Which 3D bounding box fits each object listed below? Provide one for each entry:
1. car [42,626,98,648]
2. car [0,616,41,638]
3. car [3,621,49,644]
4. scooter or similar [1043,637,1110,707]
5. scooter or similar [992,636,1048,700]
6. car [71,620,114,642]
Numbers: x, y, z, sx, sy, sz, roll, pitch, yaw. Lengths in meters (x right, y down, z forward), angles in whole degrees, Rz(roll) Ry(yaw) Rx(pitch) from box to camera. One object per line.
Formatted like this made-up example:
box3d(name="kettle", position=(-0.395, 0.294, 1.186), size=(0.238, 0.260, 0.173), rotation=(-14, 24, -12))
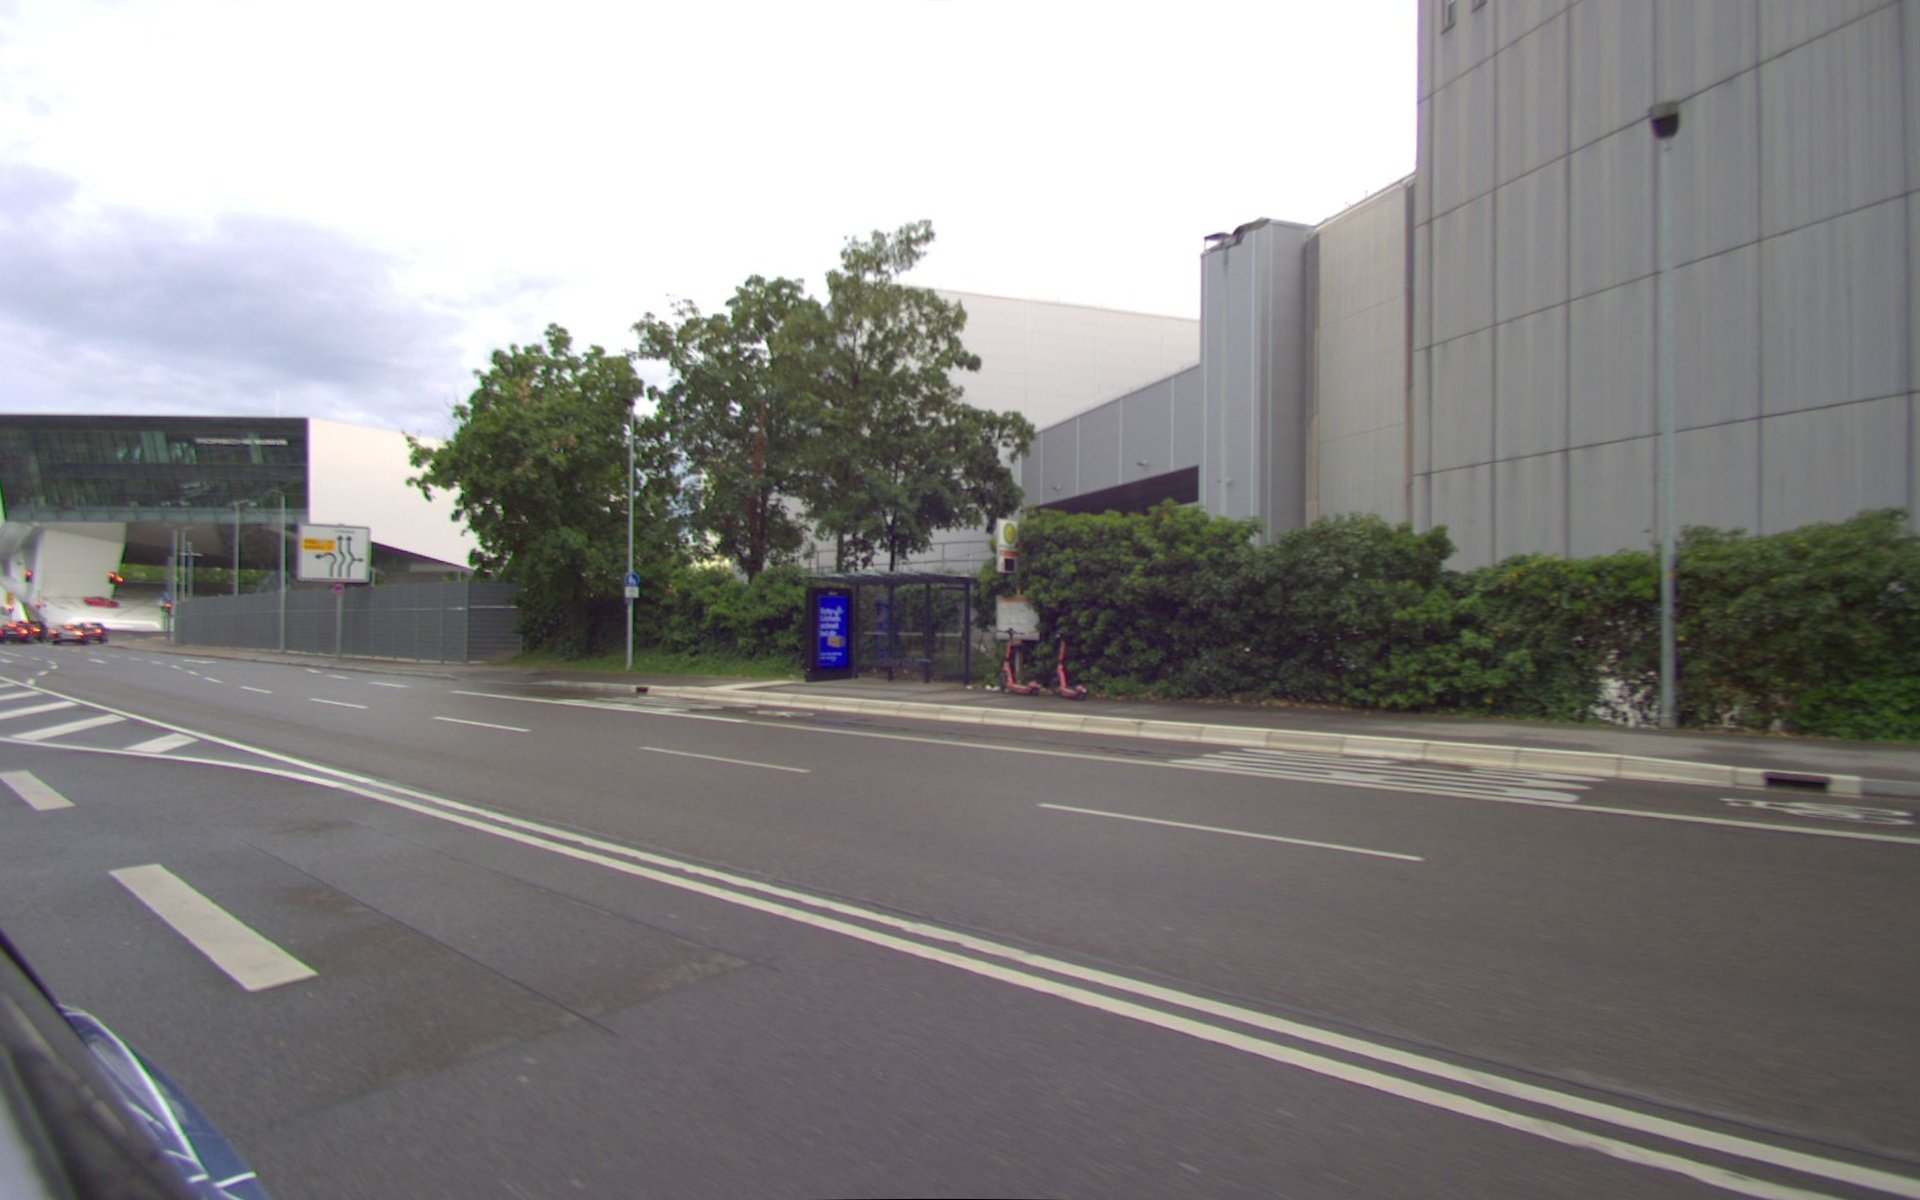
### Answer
box3d(name="car", position=(-62.738, 2.558, 71.417), size=(2.233, 1.488, 4.059), rotation=(1, -2, -31))
box3d(name="car", position=(-65.992, 1.857, 70.493), size=(2.221, 1.488, 3.890), rotation=(1, -2, -31))
box3d(name="car", position=(-69.156, 2.421, 74.966), size=(1.850, 1.663, 3.863), rotation=(1, -2, -33))
box3d(name="scooter or similar", position=(2.096, 1.285, 18.378), size=(0.373, 1.190, 1.381), rotation=(1, -2, -35))
box3d(name="scooter or similar", position=(1.142, 1.294, 19.581), size=(0.383, 1.189, 1.253), rotation=(1, -2, -35))
box3d(name="car", position=(-66.560, 2.398, 77.694), size=(1.834, 1.663, 3.799), rotation=(1, -2, -30))
